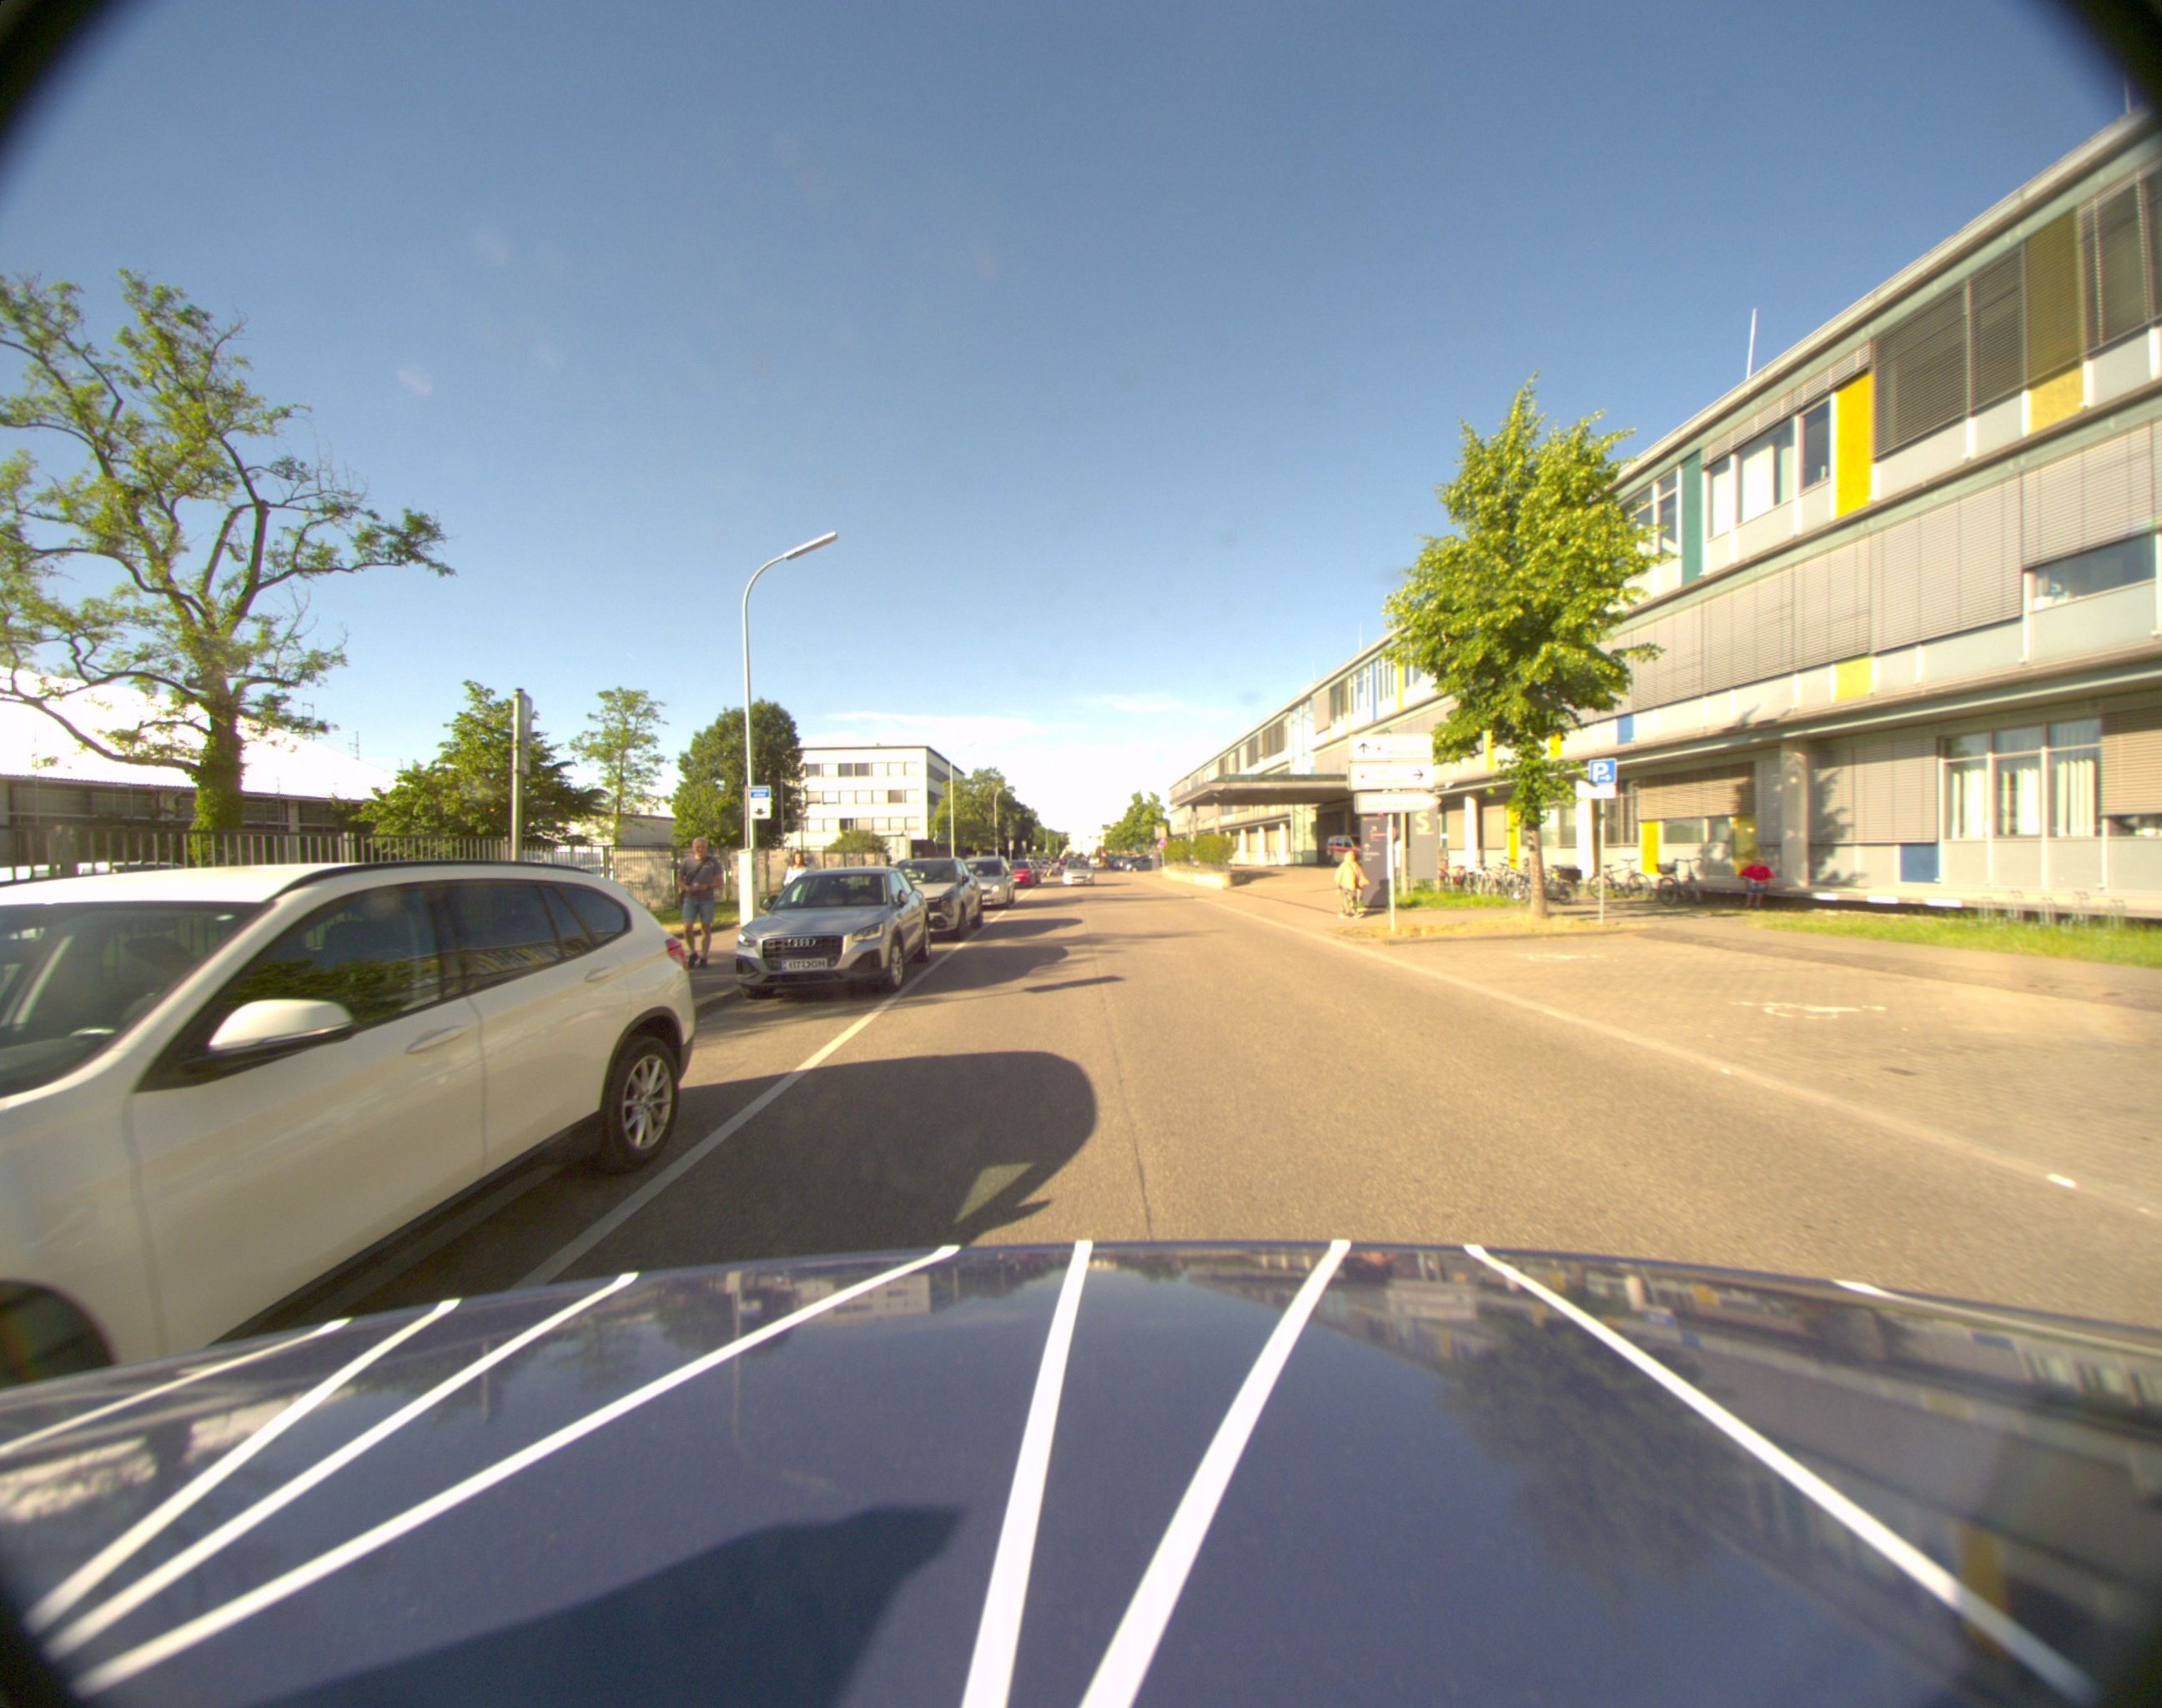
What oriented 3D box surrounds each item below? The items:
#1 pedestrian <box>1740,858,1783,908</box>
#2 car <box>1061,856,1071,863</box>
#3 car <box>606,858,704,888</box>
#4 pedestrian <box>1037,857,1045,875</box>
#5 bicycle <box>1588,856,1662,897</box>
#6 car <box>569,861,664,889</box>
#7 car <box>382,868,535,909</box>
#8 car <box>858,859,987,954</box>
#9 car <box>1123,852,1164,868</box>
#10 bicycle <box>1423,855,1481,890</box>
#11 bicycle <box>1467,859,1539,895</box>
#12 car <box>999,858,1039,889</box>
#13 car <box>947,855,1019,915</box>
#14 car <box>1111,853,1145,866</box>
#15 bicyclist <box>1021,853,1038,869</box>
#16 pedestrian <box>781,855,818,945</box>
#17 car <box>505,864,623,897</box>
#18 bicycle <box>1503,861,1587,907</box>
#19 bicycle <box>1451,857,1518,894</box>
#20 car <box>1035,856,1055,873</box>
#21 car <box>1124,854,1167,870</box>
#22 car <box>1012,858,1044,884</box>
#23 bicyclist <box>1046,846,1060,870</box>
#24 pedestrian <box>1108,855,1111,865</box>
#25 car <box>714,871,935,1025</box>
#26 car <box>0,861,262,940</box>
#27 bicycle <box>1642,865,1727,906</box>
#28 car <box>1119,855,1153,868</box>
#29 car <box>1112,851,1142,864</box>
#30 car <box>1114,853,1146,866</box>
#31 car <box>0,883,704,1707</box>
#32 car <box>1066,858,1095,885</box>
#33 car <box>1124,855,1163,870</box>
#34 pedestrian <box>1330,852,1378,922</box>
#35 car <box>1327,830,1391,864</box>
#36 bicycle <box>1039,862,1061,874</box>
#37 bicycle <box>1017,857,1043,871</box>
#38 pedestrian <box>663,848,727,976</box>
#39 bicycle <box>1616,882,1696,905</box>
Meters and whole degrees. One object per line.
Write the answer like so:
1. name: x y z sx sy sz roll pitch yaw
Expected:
1. pedestrian: 16.299 0.689 18.204 0.533 1.166 0.556 -1 1 1
2. car: -3.162 1.125 160.414 1.999 1.382 3.998 0 0 -5
3. car: -25.348 1.085 45.318 4.642 1.658 1.999 -1 0 -6
4. pedestrian: -3.728 1.132 70.882 0.693 1.718 0.775 0 1 -1
5. bicycle: 15.441 0.636 21.589 1.719 1.117 0.536 -1 1 -2
6. car: -24.492 1.068 40.162 3.899 1.371 1.675 -1 0 -3
7. car: -23.572 1.273 28.908 4.154 1.245 1.828 -3 0 -3
8. car: -3.127 0.962 15.852 1.705 1.597 4.352 -3 0 0
9. car: 6.864 0.698 83.539 4.232 1.642 1.960 -1 0 -3
10. bicycle: 12.151 0.595 24.895 1.721 1.117 0.536 -1 1 -10
11. bicycle: 11.734 0.641 21.153 1.719 0.968 0.536 -1 1 -2
12. car: -3.323 1.015 41.505 1.814 1.501 4.721 -3 0 -1
13. car: -3.119 0.919 25.106 1.814 1.712 4.703 -3 0 -1
14. car: 6.559 0.761 106.561 4.361 1.618 1.999 -3 1 -4
15. bicyclist: -4.184 0.582 61.507 1.098 1.261 0.863 -1 0 15
16. pedestrian: -5.280 0.839 14.242 0.541 1.602 0.682 -3 1 -21
17. car: -24.371 1.237 35.921 4.154 1.245 1.878 -3 0 -3
18. bicycle: 11.423 0.731 18.731 1.706 1.115 0.536 -1 1 5
19. bicycle: 11.877 0.622 22.377 1.719 1.049 0.536 -1 1 -2
20. car: -3.503 0.987 74.808 1.668 1.505 4.114 -3 0 0
21. car: 6.654 0.806 78.539 4.142 1.458 1.753 -2 0 -2
22. car: -3.271 1.012 47.311 1.705 1.478 4.214 -3 0 -1
23. bicyclist: -2.374 0.353 65.120 1.052 2.002 0.959 -2 2 1
24. pedestrian: 4.936 0.993 132.113 0.369 1.712 0.479 -3 5 -4
25. car: -3.105 1.043 10.095 1.705 1.479 3.979 -3 0 -3
26. car: -24.255 1.134 19.017 4.979 1.635 2.095 -3 0 -3
27. bicycle: 15.025 0.780 18.943 1.719 0.988 0.536 -1 1 -2
28. car: 6.773 0.918 93.742 3.992 1.480 1.823 -3 1 -2
29. car: 6.965 0.528 115.755 4.359 1.852 2.000 -3 0 0
30. car: 6.479 0.705 100.762 4.102 1.414 1.823 -3 1 -2
31. car: -3.116 1.003 2.360 1.818 1.579 4.261 -3 0 -2
32. car: -0.008 0.948 42.266 1.551 1.389 3.454 0 0 0
33. car: 6.659 0.901 81.202 3.998 1.429 1.730 -2 0 -3
34. pedestrian: 6.359 0.752 17.707 0.774 1.540 0.780 -3 1 0
35. car: 16.026 -0.388 44.115 1.924 1.880 4.711 -1 0 -1
36. bicycle: -2.638 1.200 65.096 1.884 1.003 0.701 -1 1 -1
37. bicycle: -4.128 0.803 61.501 1.899 1.136 0.668 0 0 15
38. pedestrian: -5.341 0.780 10.534 0.522 1.699 0.522 -3 1 -4
39. bicycle: 14.978 1.028 19.810 1.719 0.548 0.536 -1 0 -2
